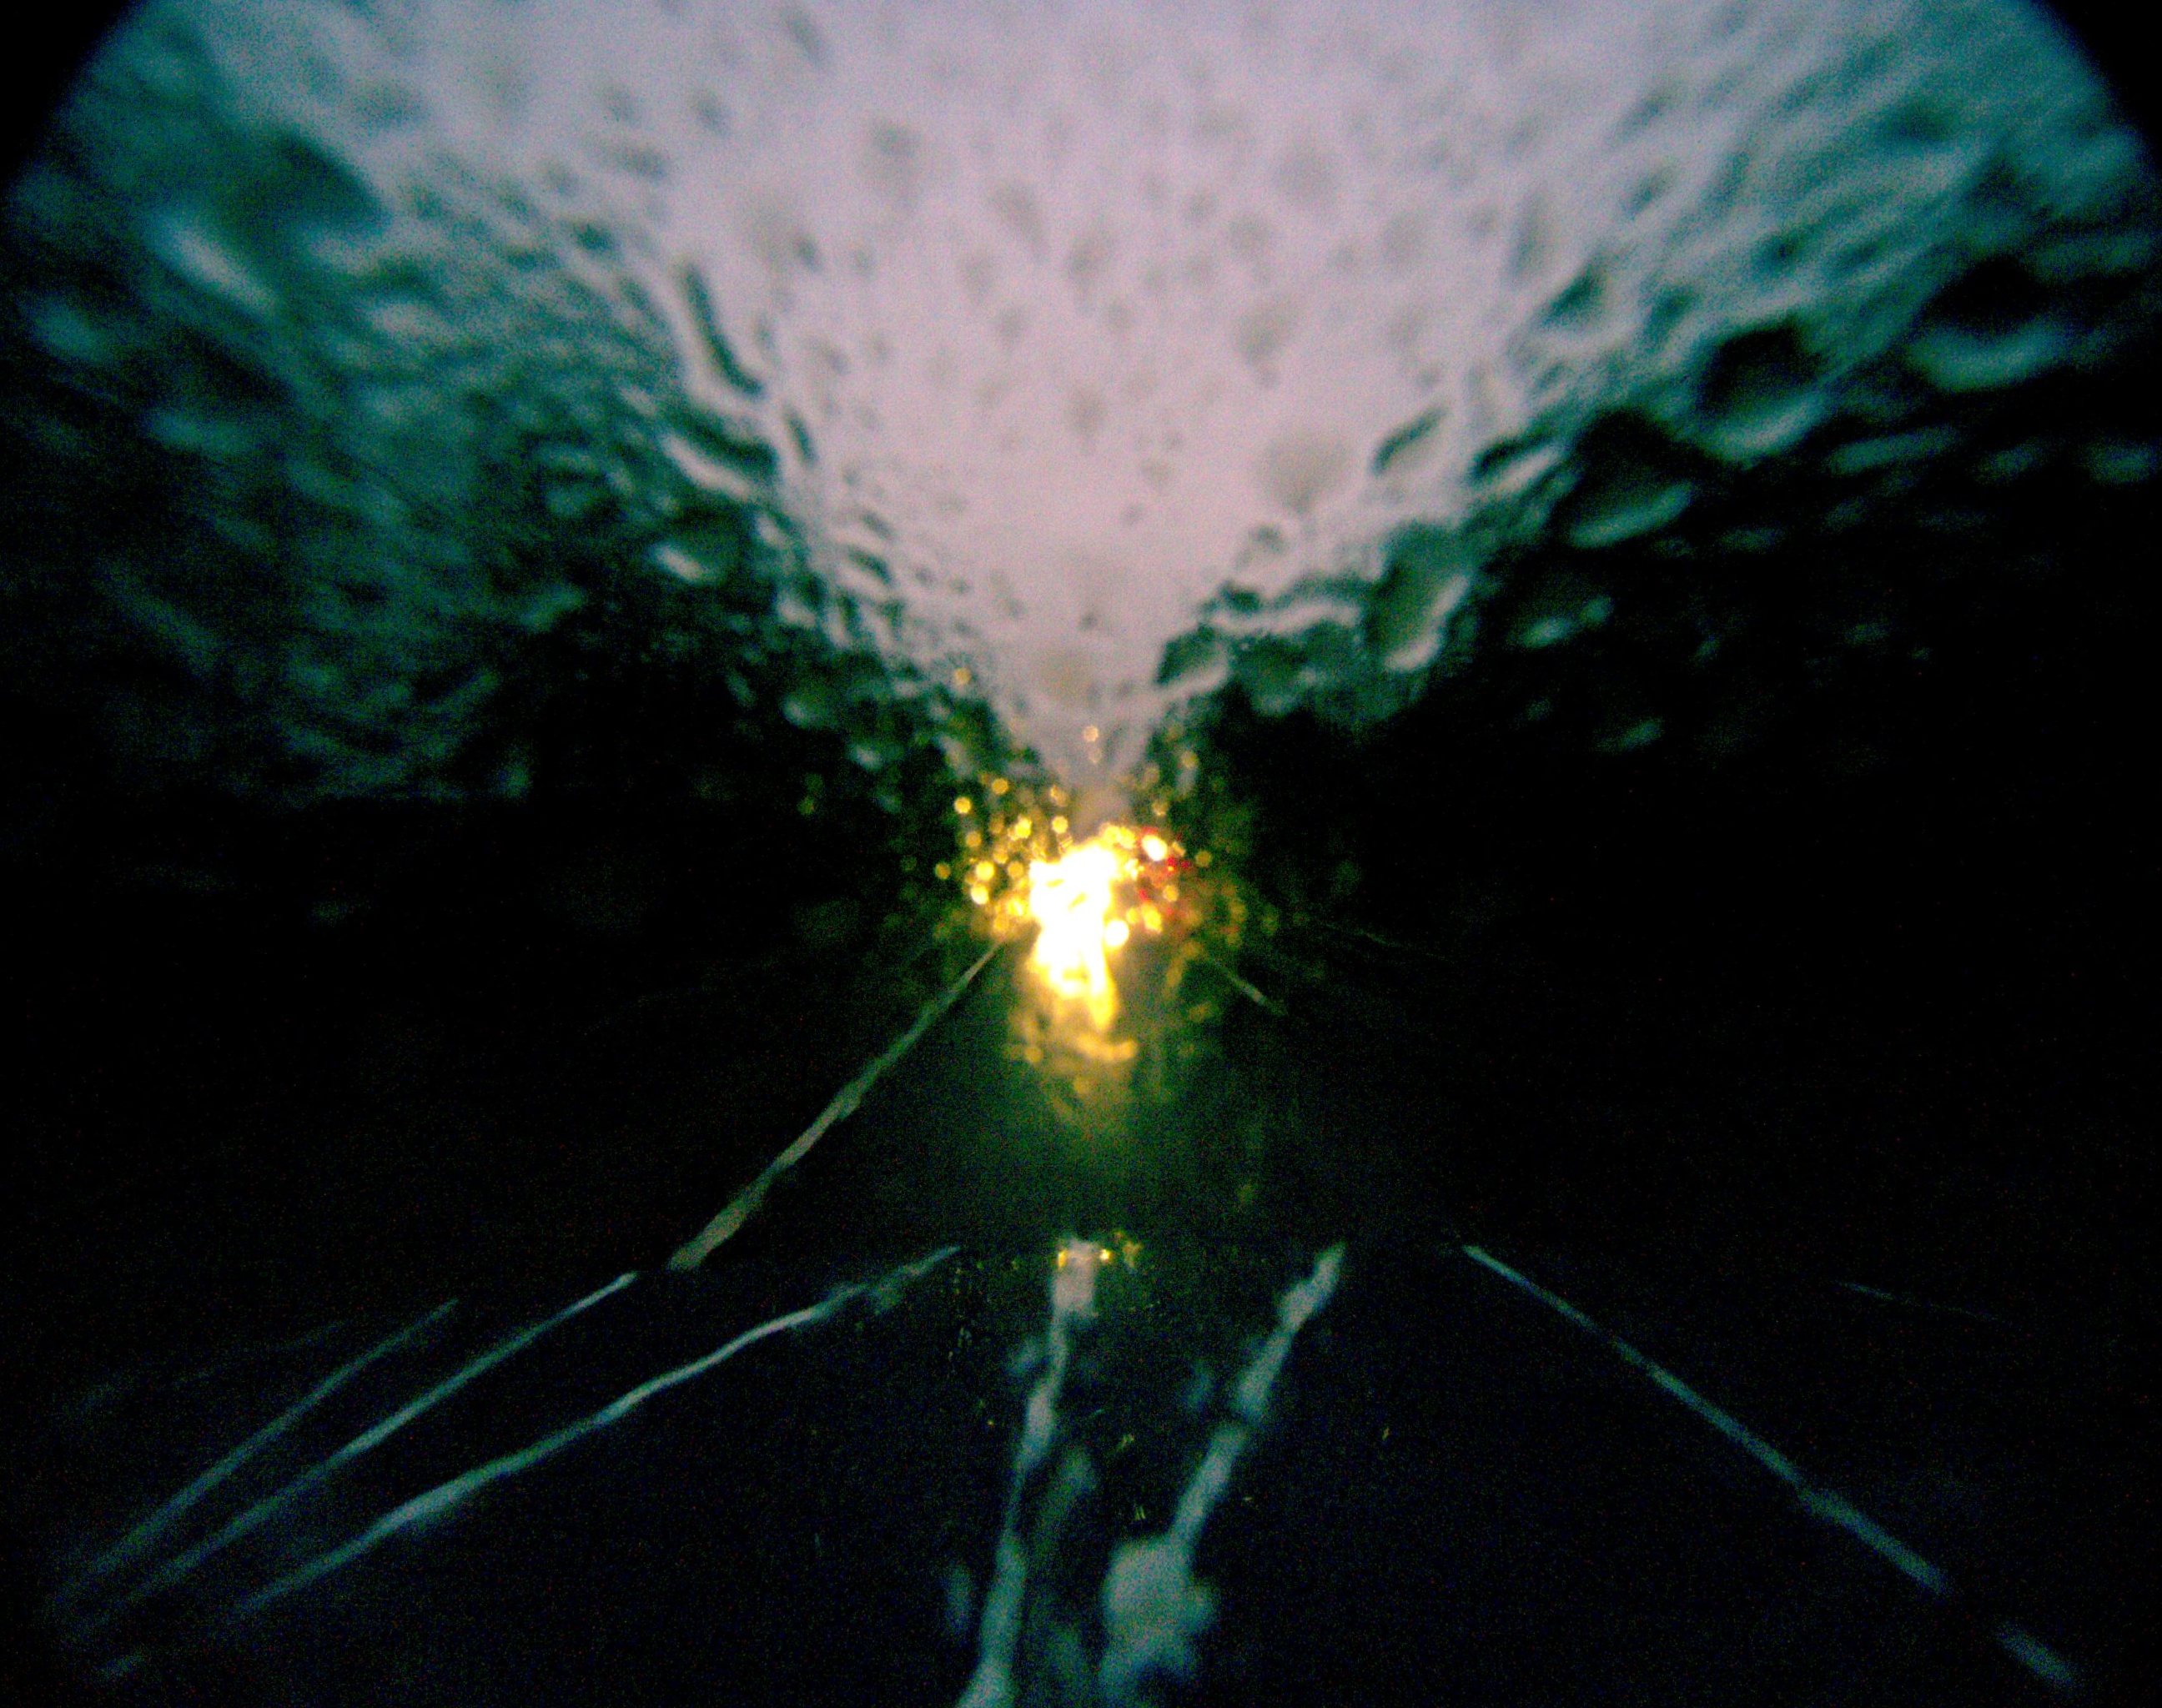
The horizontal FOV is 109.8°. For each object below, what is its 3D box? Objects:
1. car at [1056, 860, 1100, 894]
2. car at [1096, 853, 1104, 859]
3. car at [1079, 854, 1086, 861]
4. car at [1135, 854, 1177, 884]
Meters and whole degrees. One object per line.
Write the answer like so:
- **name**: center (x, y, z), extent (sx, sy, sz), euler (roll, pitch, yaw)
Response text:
- **car**: center (-0.086, 0.998, 34.558), extent (1.845, 1.390, 4.000), euler (-1, 0, 1)
- **car**: center (5.040, 0.541, 201.780), extent (1.708, 1.355, 4.376), euler (-5, -1, -2)
- **car**: center (0.450, 1.092, 221.549), extent (1.998, 2.002, 3.999), euler (-2, 1, 0)
- **car**: center (3.813, 0.744, 39.264), extent (1.803, 1.453, 4.176), euler (0, 0, 1)
